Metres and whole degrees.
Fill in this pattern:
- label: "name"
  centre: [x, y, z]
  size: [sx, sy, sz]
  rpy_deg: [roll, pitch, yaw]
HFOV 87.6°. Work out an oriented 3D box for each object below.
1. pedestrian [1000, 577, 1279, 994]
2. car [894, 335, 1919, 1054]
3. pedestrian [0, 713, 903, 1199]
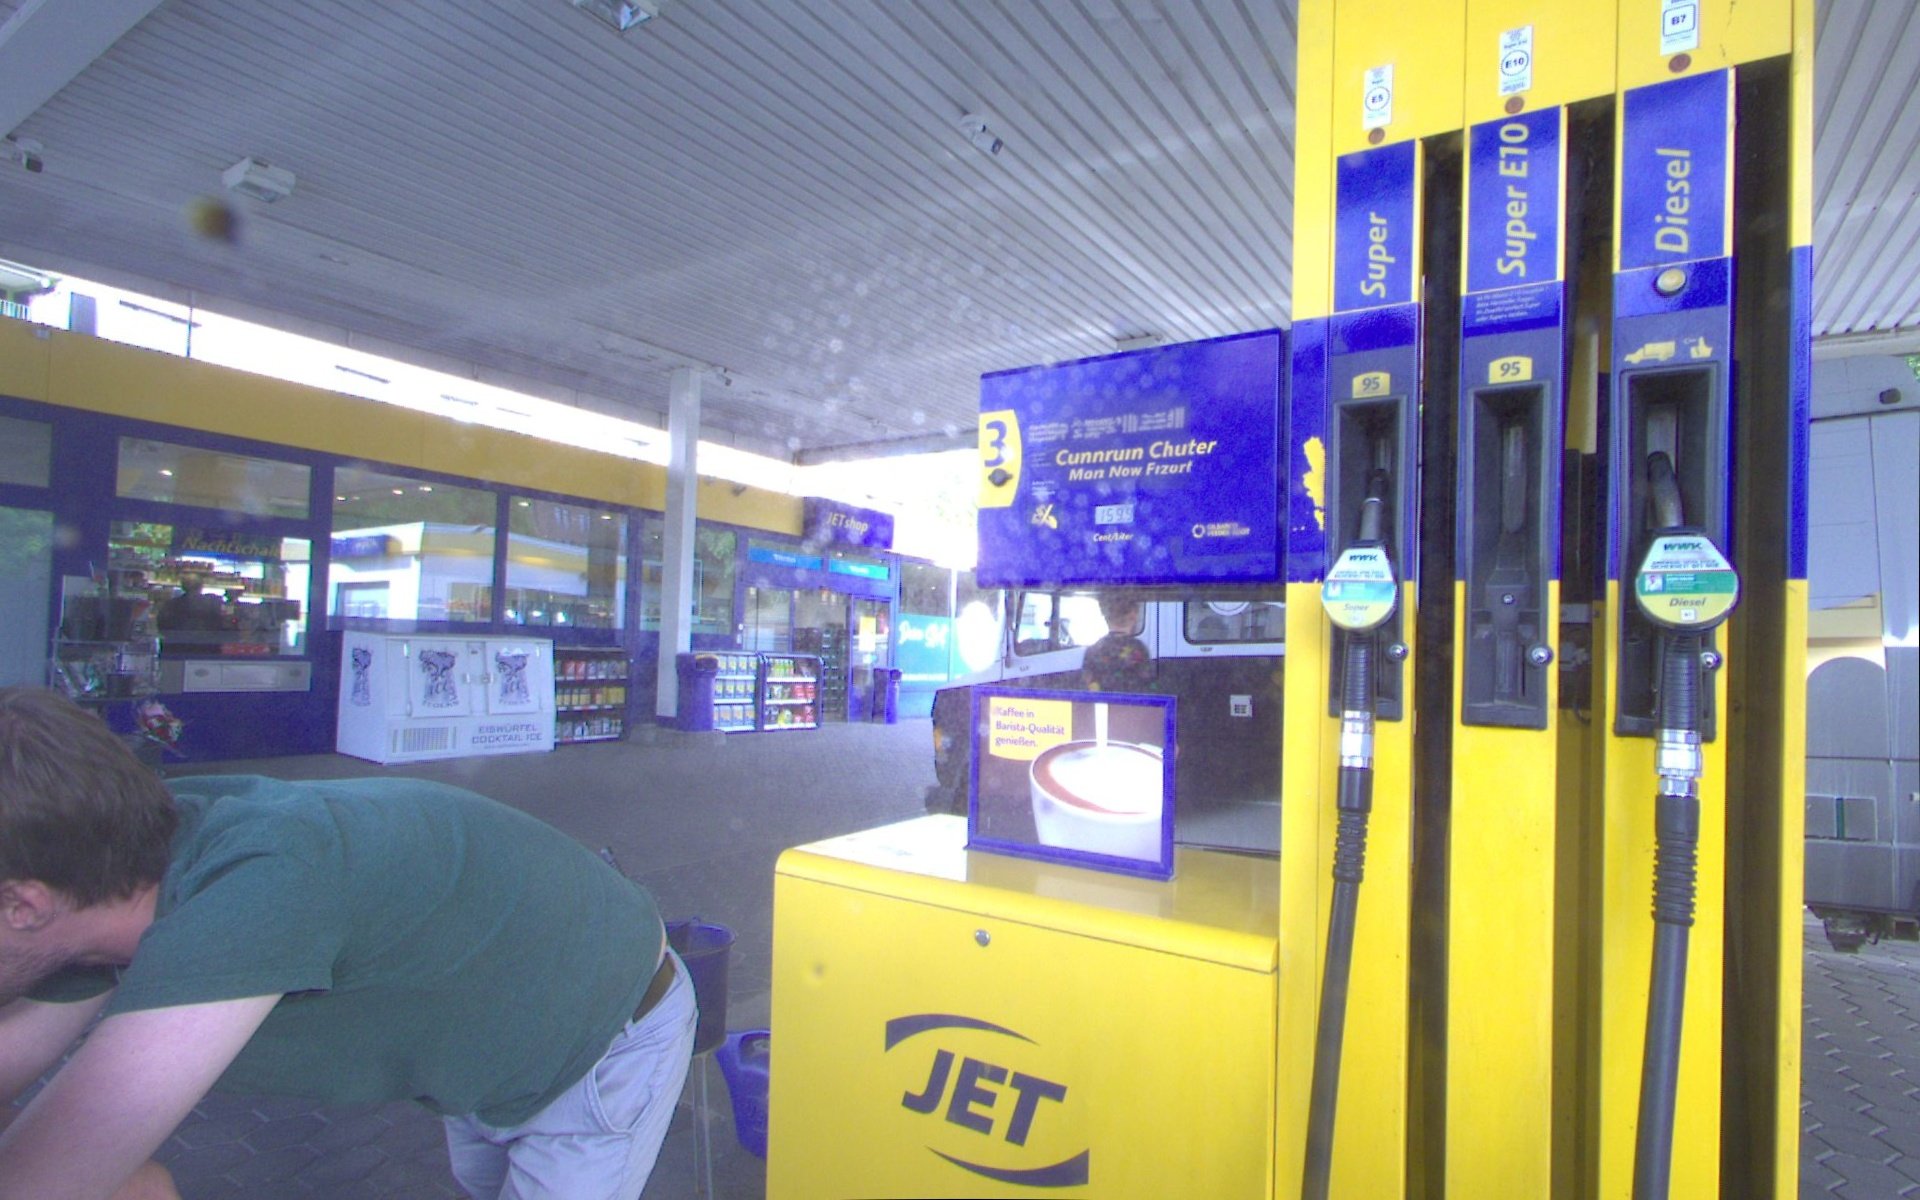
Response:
- label: "pedestrian"
  centre: [0.877, 0.820, 4.985]
  size: [0.968, 1.785, 0.973]
  rpy_deg: [1, -2, -36]
- label: "car"
  centre: [2.379, 0.415, 6.016]
  size: [5.219, 2.724, 2.250]
  rpy_deg: [0, -3, 34]
- label: "pedestrian"
  centre: [-0.543, 0.809, 1.071]
  size: [0.664, 1.298, 0.749]
  rpy_deg: [-1, -1, 31]
